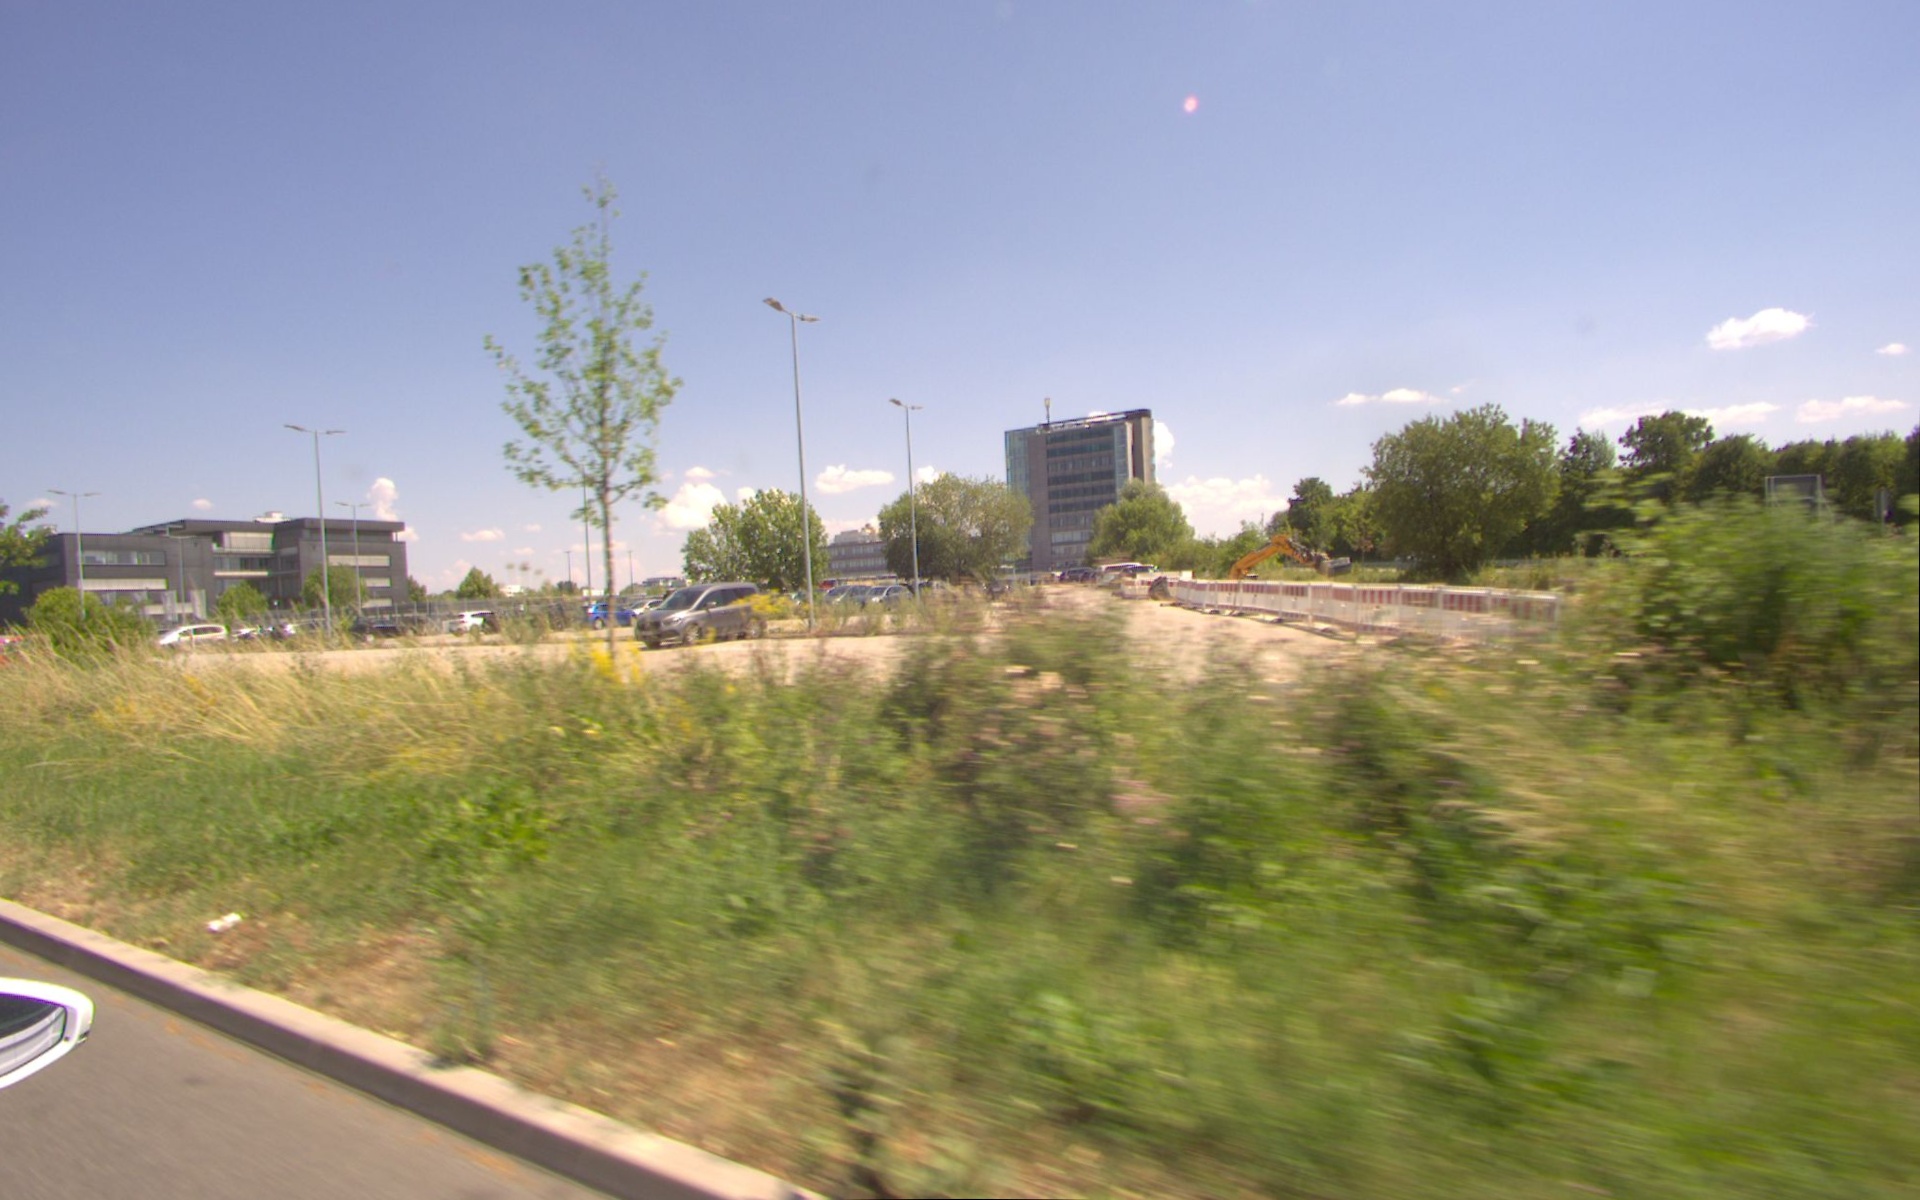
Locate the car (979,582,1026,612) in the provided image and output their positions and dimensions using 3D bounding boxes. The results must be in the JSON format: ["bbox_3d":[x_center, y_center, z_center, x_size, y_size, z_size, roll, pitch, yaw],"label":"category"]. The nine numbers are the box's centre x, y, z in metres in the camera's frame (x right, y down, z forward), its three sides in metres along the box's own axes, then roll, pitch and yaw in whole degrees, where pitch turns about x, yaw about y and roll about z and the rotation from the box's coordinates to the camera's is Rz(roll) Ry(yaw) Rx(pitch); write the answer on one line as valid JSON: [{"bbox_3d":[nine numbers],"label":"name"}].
[{"bbox_3d":[2.751,-0.236,63.561,1.964,1.663,3.989,0,3,19],"label":"car"}]

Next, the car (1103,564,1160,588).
[{"bbox_3d":[13.013,-1.834,75.977,3.922,1.550,1.875,-3,1,-2],"label":"car"}]

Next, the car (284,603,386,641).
[{"bbox_3d":[-32.094,1.111,51.509,1.899,1.663,3.978,-3,1,31],"label":"car"}]

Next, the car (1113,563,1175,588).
[{"bbox_3d":[12.920,-1.716,70.612,3.922,1.550,1.875,-3,1,-2],"label":"car"}]

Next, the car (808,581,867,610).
[{"bbox_3d":[-6.813,-0.288,56.062,1.690,1.440,3.989,0,3,19],"label":"car"}]

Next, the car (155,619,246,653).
[{"bbox_3d":[-45.705,2.131,60.354,1.741,1.618,3.981,1,4,27],"label":"car"}]

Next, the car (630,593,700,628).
[{"bbox_3d":[-18.434,0.599,62.695,1.968,1.908,3.982,1,4,26],"label":"car"}]

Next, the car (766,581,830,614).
[{"bbox_3d":[-9.186,-0.192,57.199,1.964,1.663,3.989,0,3,19],"label":"car"}]

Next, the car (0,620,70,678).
[{"bbox_3d":[-31.376,1.662,31.975,1.899,1.747,3.978,-3,1,31],"label":"car"}]

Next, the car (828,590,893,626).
[{"bbox_3d":[-5.288,0.376,53.852,1.965,1.663,3.989,0,3,19],"label":"car"}]

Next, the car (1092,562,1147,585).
[{"bbox_3d":[12.491,-2.092,78.761,3.922,1.550,1.875,-3,1,-2],"label":"car"}]

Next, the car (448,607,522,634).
[{"bbox_3d":[-29.895,1.270,63.124,1.670,1.359,3.983,-3,1,26],"label":"car"}]

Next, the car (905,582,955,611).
[{"bbox_3d":[-1.930,-0.241,65.614,1.964,1.663,3.989,0,3,19],"label":"car"}]

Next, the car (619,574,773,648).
[{"bbox_3d":[-7.942,0.266,30.524,1.910,1.941,4.454,-1,3,29],"label":"car"}]

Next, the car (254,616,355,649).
[{"bbox_3d":[-34.842,1.728,53.314,1.899,1.414,3.978,-3,1,31],"label":"car"}]

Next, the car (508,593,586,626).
[{"bbox_3d":[-23.677,0.512,57.622,1.964,1.663,3.989,0,3,19],"label":"car"}]

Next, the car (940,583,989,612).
[{"bbox_3d":[0.338,-0.172,64.199,1.964,1.663,3.989,0,3,19],"label":"car"}]

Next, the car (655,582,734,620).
[{"bbox_3d":[-13.965,0.025,52.953,1.731,1.782,3.980,-1,3,28],"label":"car"}]

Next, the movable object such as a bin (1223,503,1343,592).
[{"bbox_3d":[16.081,-2.665,50.667,2.930,4.102,8.096,-1,3,-4],"label":"movable object such as a bin"}]

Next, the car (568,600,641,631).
[{"bbox_3d":[-20.082,0.831,56.696,1.706,1.485,3.792,1,4,26],"label":"car"}]
